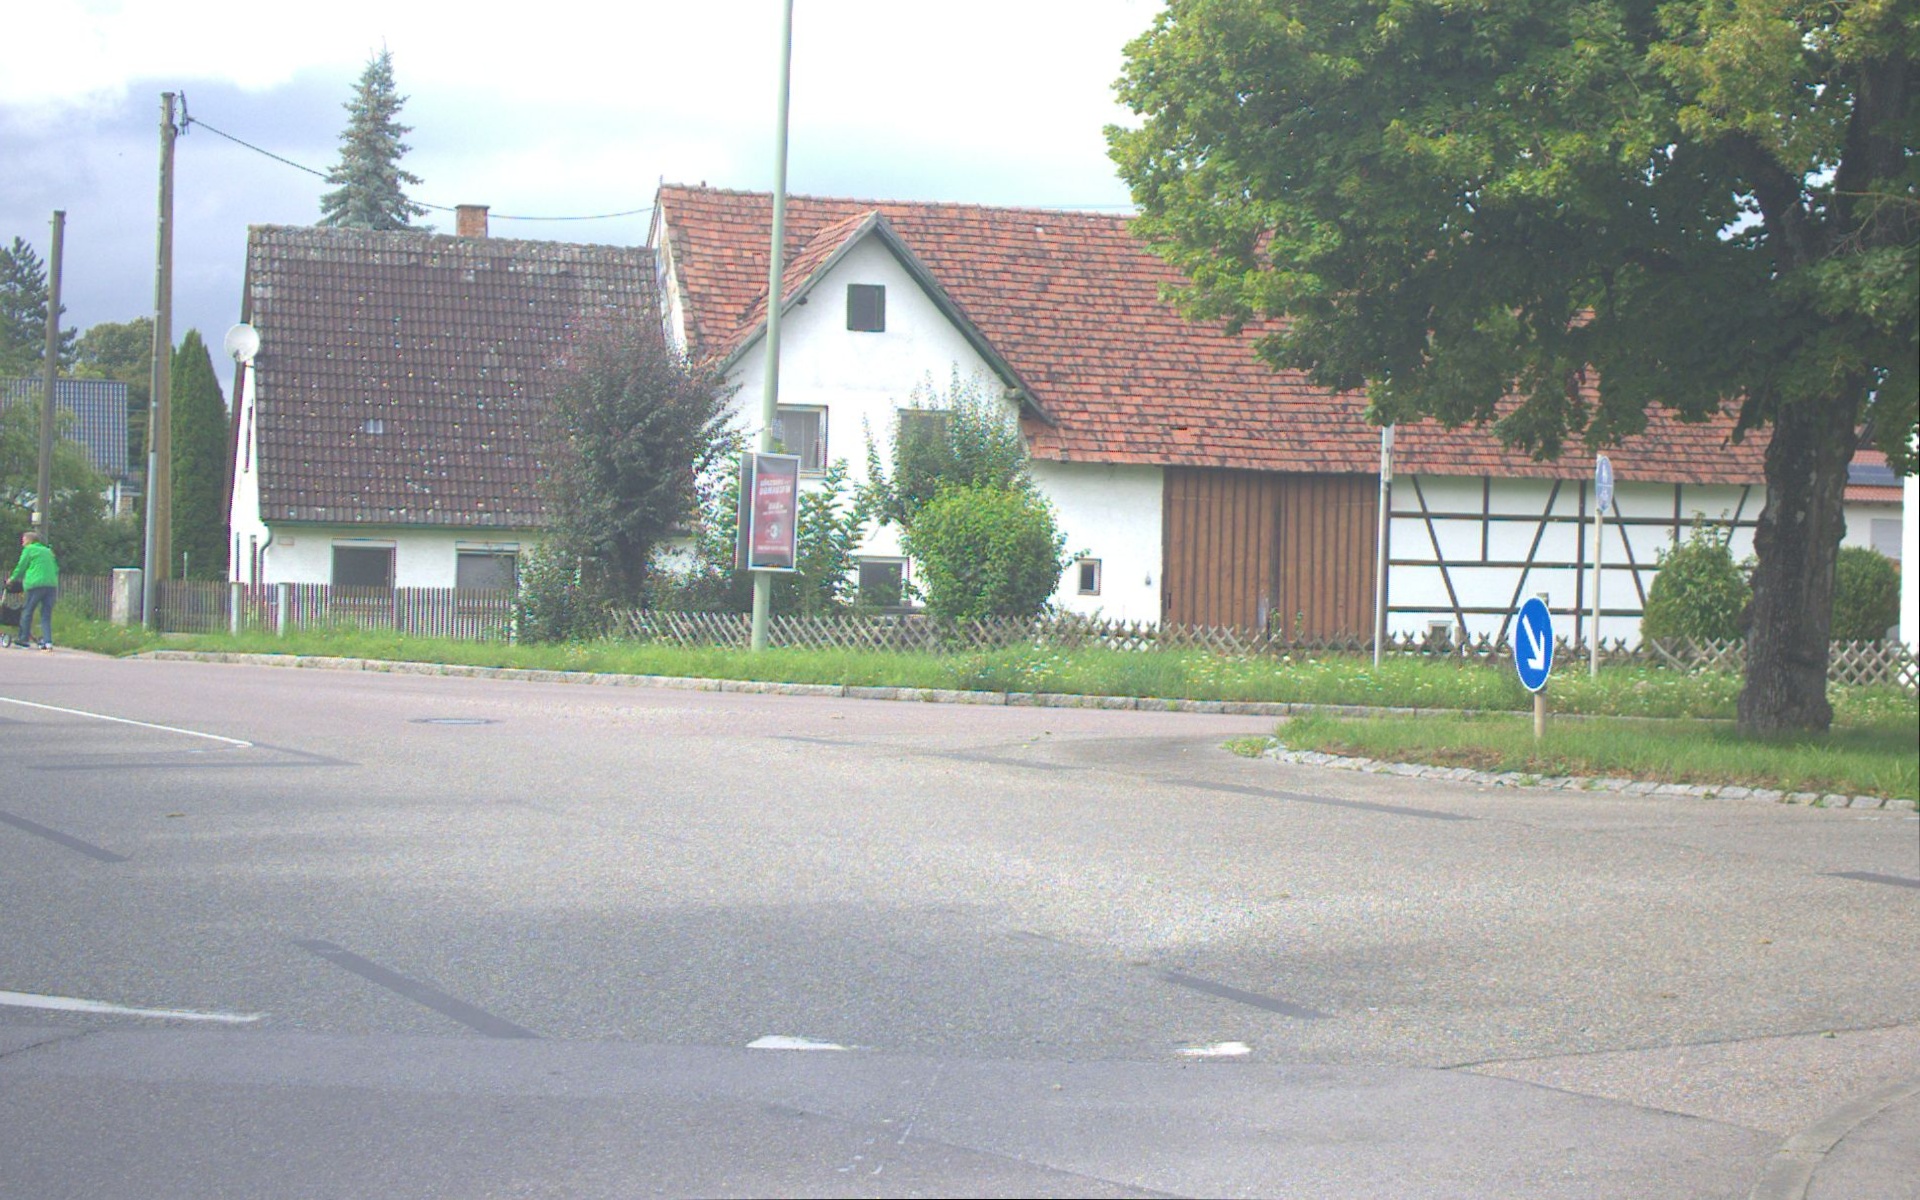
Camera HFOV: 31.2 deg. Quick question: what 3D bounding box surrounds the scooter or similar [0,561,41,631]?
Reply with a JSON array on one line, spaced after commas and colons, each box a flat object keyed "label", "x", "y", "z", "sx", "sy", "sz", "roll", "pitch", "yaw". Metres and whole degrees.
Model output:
[{"label": "scooter or similar", "x": -13.590, "y": -0.067, "z": 49.110, "sx": 0.630, "sy": 0.945, "sz": 0.622, "roll": 6, "pitch": -2, "yaw": -34}]

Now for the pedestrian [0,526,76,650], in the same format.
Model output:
[{"label": "pedestrian", "x": -13.064, "y": -0.174, "z": 48.529, "sx": 0.788, "sy": 1.659, "sz": 0.712, "roll": 6, "pitch": -2, "yaw": -34}]
